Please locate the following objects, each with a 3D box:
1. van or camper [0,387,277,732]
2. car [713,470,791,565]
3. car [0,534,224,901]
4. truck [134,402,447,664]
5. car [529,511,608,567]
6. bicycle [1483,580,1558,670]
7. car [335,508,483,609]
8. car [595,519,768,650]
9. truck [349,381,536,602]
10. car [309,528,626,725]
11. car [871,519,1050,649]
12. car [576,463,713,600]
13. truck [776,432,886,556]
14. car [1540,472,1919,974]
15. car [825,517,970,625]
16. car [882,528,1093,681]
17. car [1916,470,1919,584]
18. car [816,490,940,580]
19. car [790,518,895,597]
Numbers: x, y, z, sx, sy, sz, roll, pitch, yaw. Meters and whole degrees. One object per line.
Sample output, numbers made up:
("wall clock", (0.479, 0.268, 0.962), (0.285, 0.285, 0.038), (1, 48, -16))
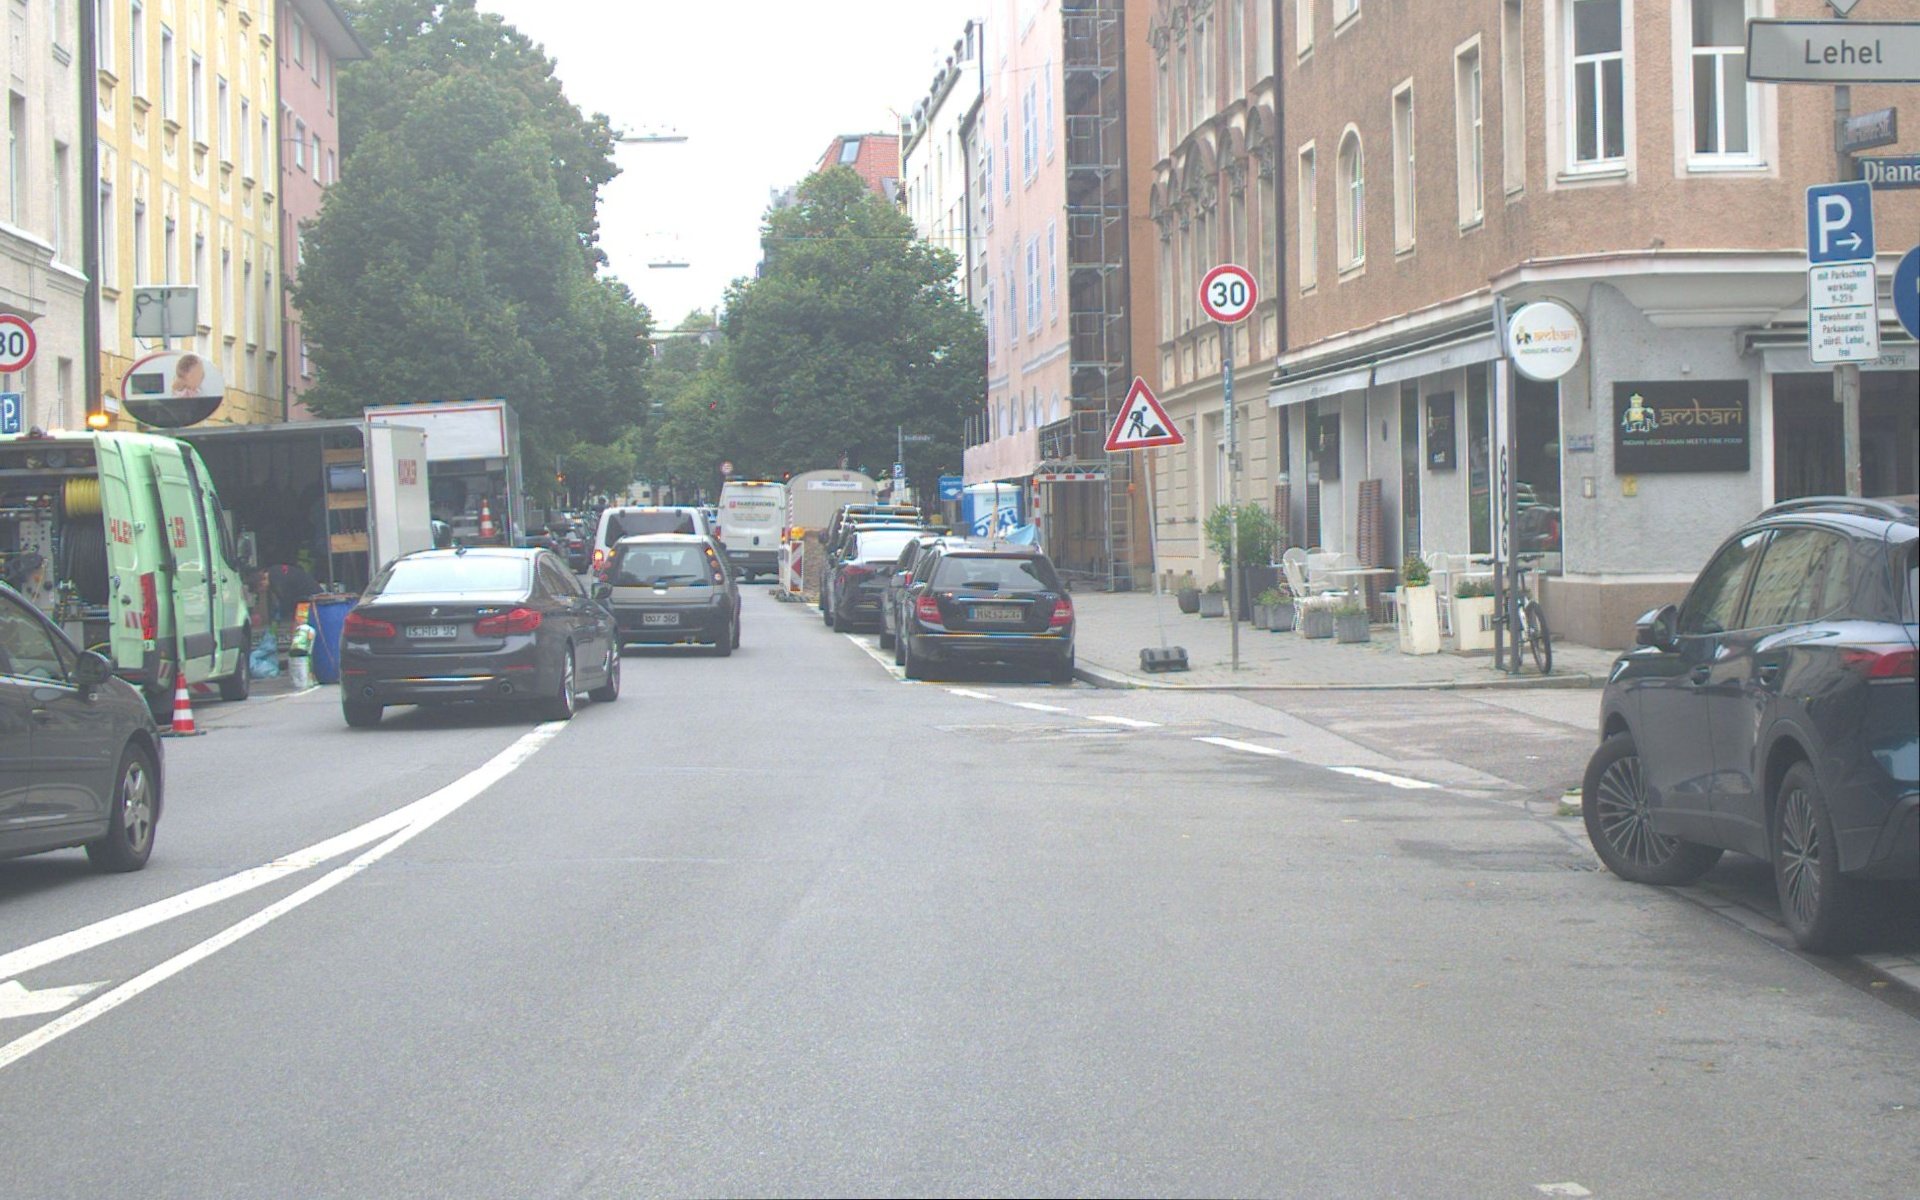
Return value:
("van or camper", (-8.048, -0.442, 31.483), (2.600, 2.830, 6.187), (-1, 2, -3))
("car", (-5.529, -2.200, 91.814), (1.939, 2.471, 4.783), (-1, 1, -2))
("car", (-4.663, 0.476, 14.760), (1.759, 1.456, 4.074), (-1, 1, 5))
("truck", (-7.998, -0.888, 41.947), (2.773, 2.863, 7.203), (-1, 2, -4))
("car", (-10.472, -1.653, 92.217), (1.939, 1.443, 3.867), (-1, 1, -4))
("bicycle", (5.266, 0.225, 32.335), (0.456, 0.802, 1.327), (0, 1, -1))
("car", (-9.166, -0.721, 57.452), (1.990, 1.605, 4.141), (-1, 1, -3))
("car", (-3.373, -0.227, 42.302), (1.990, 1.424, 4.141), (-1, 2, -3))
("truck", (-9.679, -2.023, 64.972), (3.012, 3.938, 6.997), (-1, 1, -5))
("car", (-4.125, 0.161, 29.599), (1.990, 1.424, 4.906), (-1, 2, 0))
("car", (-0.046, -0.234, 42.774), (1.844, 1.424, 4.141), (2, 2, -5))
("car", (-5.012, -1.138, 55.164), (1.990, 2.068, 4.141), (-1, 2, -3))
("truck", (-3.229, -2.600, 85.043), (2.491, 2.963, 5.329), (-1, 1, -4))
("car", (3.734, 0.334, 13.826), (1.818, 1.673, 4.511), (-2, 1, -2))
("car", (-0.975, -0.466, 51.280), (1.844, 1.424, 4.307), (2, 2, -5))
("car", (0.232, -0.001, 36.913), (1.844, 1.424, 4.184), (2, 2, -5))
("car", (3.875, 0.450, 8.342), (1.756, 1.673, 4.707), (-2, 1, 0))
("car", (-1.444, -1.149, 59.221), (1.990, 1.424, 4.141), (-1, 2, -3))
("car", (-2.388, -0.881, 68.953), (1.990, 1.424, 4.141), (-1, 2, -3))
